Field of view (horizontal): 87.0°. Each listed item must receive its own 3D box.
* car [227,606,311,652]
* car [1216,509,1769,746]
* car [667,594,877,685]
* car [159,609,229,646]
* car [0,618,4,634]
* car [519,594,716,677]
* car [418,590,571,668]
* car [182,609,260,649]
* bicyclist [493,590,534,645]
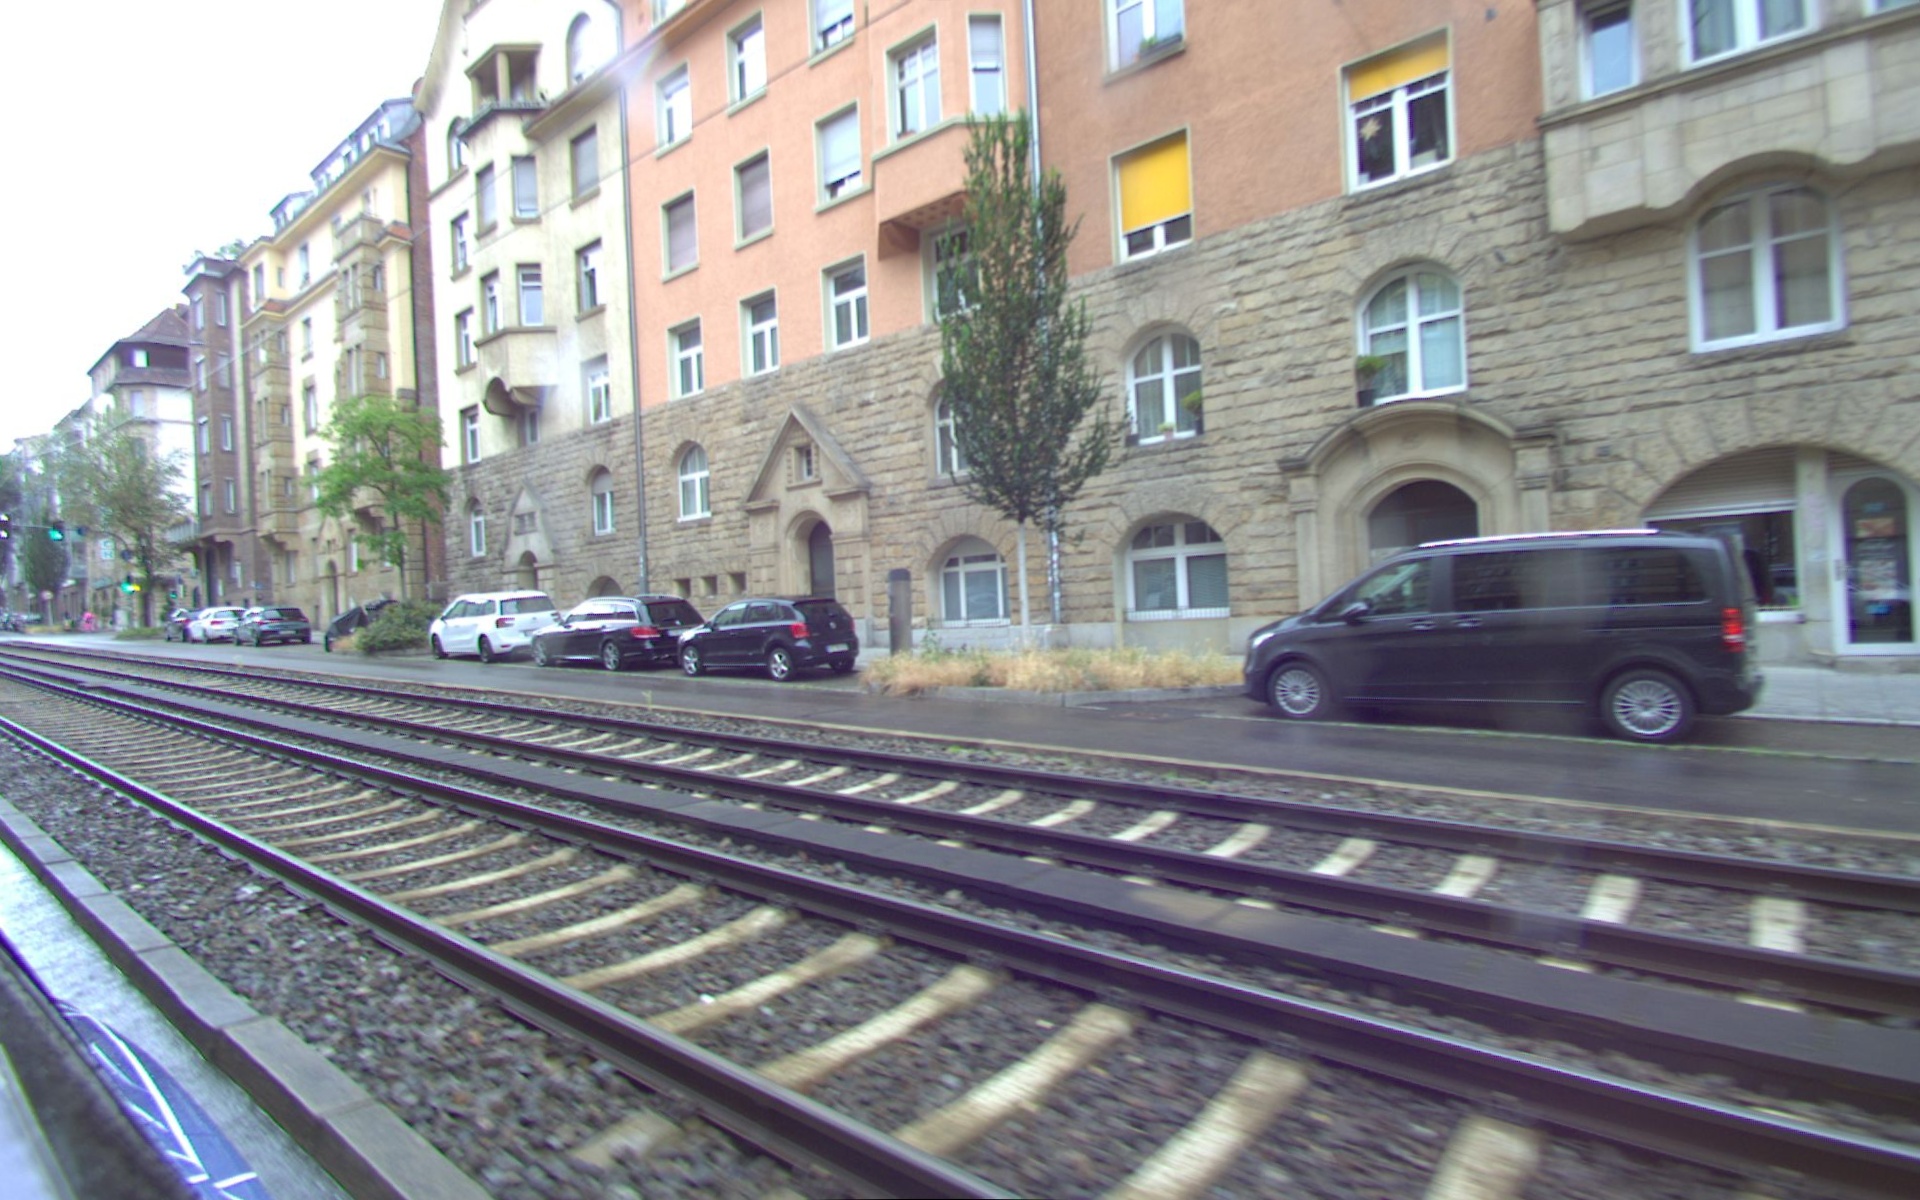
[{"bbox_3d":[-25.633,1.029,37.520,3.712,1.493,1.695,-1,3,42],"label":"car"},{"bbox_3d":[5.344,0.236,10.588,4.829,1.945,1.886,-1,0,40],"label":"car"},{"bbox_3d":[-3.476,0.660,18.486,3.690,1.414,1.739,-1,2,38],"label":"car"},{"bbox_3d":[-33.752,1.179,44.561,3.712,1.438,1.737,-1,3,42],"label":"car"},{"bbox_3d":[-83.531,2.261,86.822,4.255,1.356,1.771,-1,0,41],"label":"car"},{"bbox_3d":[-7.353,0.703,21.492,4.593,1.502,1.738,-1,2,39],"label":"car"},{"bbox_3d":[-11.638,0.677,25.196,4.257,1.684,1.738,-1,3,40],"label":"car"},{"bbox_3d":[-30.271,1.148,41.415,4.043,1.462,1.737,-1,3,42],"label":"car"},{"bbox_3d":[-13.417,0.505,30.402,0.774,1.613,0.883,-1,0,41],"label":"bicyclist"}]
